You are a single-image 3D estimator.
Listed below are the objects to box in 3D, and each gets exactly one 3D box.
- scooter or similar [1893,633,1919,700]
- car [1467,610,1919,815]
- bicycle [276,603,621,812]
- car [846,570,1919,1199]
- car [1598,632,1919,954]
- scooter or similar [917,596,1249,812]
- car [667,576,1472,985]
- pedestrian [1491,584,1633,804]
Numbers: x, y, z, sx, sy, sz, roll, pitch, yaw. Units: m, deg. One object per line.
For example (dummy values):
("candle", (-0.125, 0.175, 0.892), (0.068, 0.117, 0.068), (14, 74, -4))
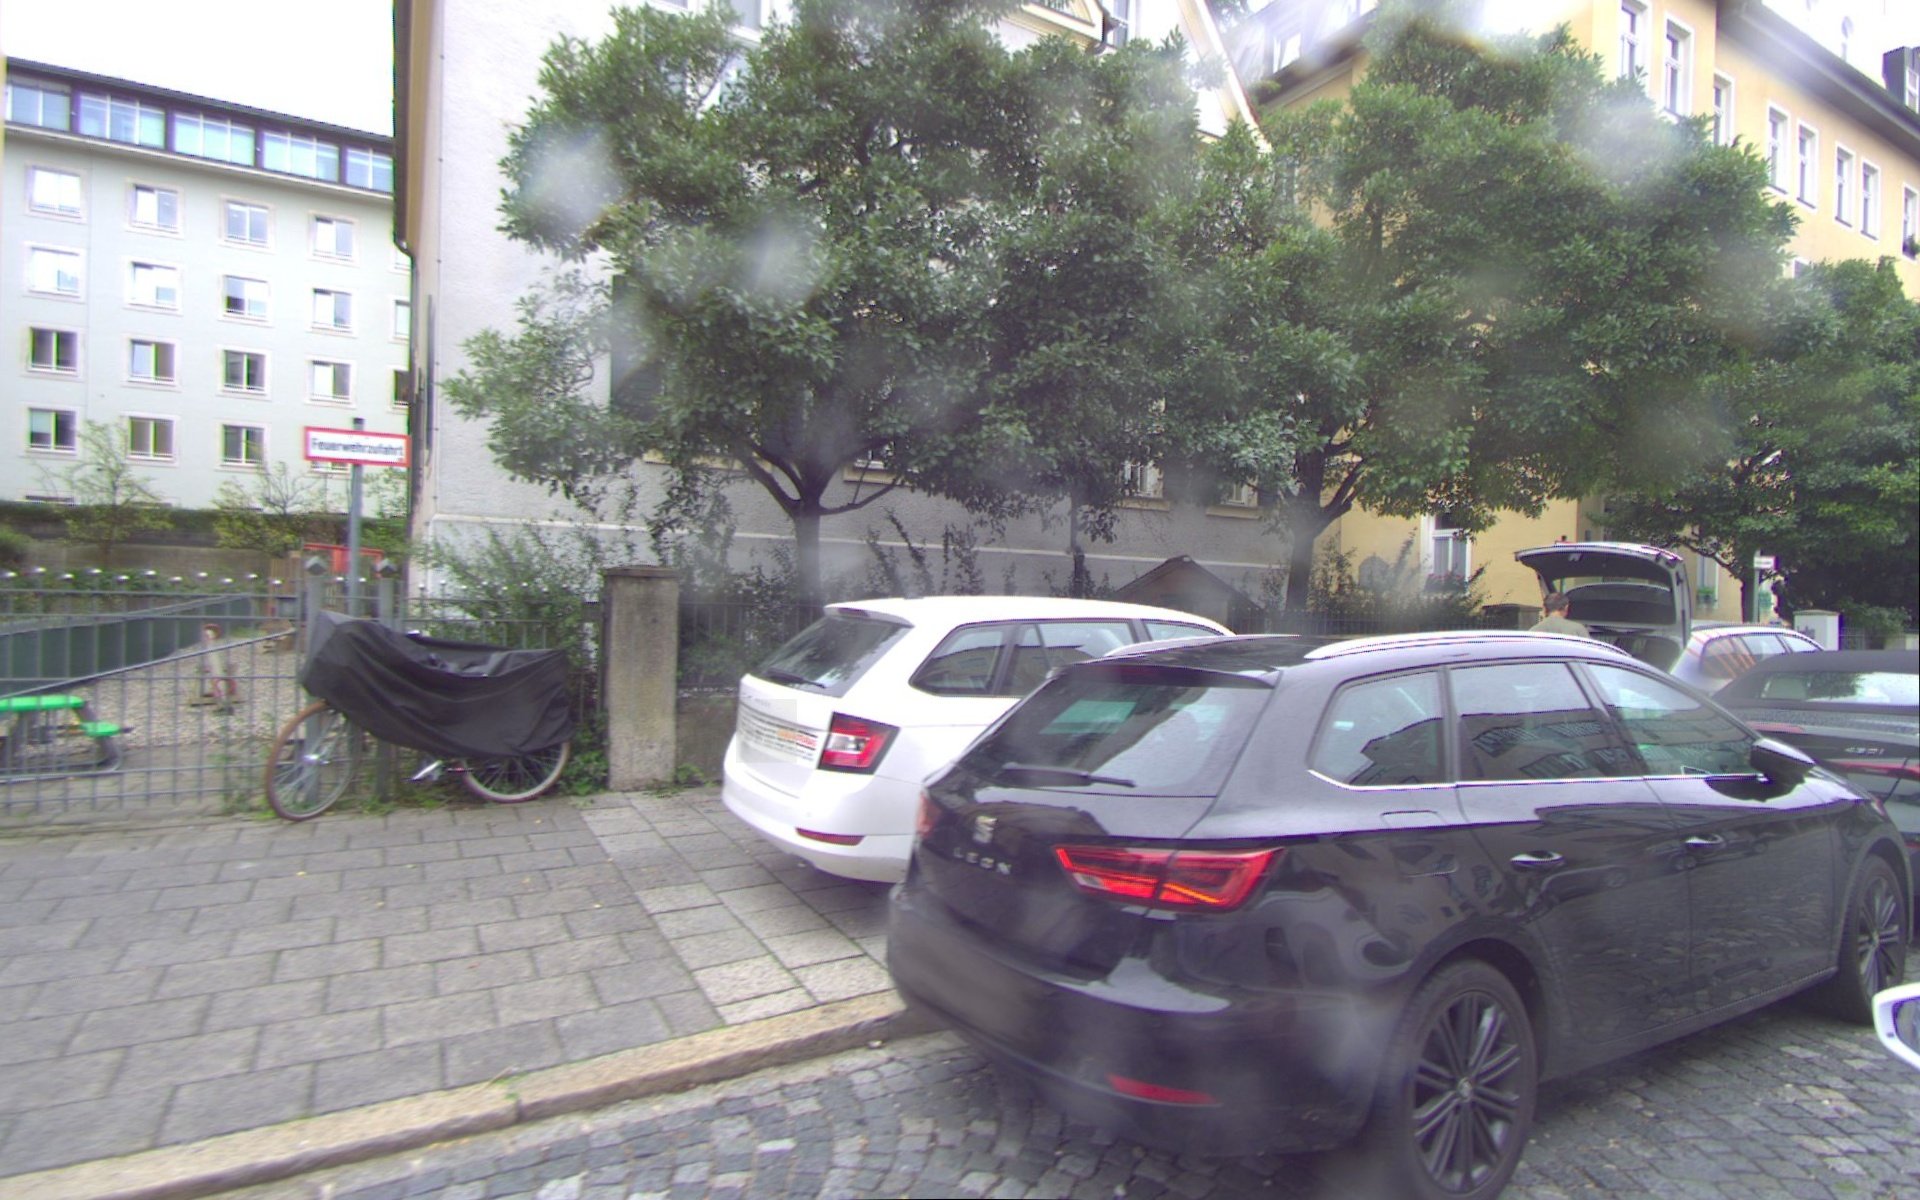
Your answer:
("scooter or similar", (18.489, 1.270, 18.872), (1.504, 1.216, 0.951), (1, 2, -30))
("car", (6.913, 0.884, 9.270), (4.506, 1.436, 1.768), (1, 1, -30))
("bicycle", (-3.471, 0.685, 6.961), (2.036, 1.275, 0.603), (1, 0, -30))
("car", (1.971, 0.822, 3.850), (4.485, 1.624, 1.731), (2, -2, -31))
("car", (6.273, 0.958, 6.263), (4.854, 1.474, 1.807), (1, -3, -30))
("scooter or similar", (1.051, 0.768, 8.285), (2.603, 1.543, 1.057), (1, 0, -30))
("car", (0.782, 0.728, 5.747), (4.416, 1.557, 1.730), (2, 1, -31))
("pedestrian", (4.858, 0.718, 8.125), (0.575, 1.672, 0.762), (1, 1, -28))
